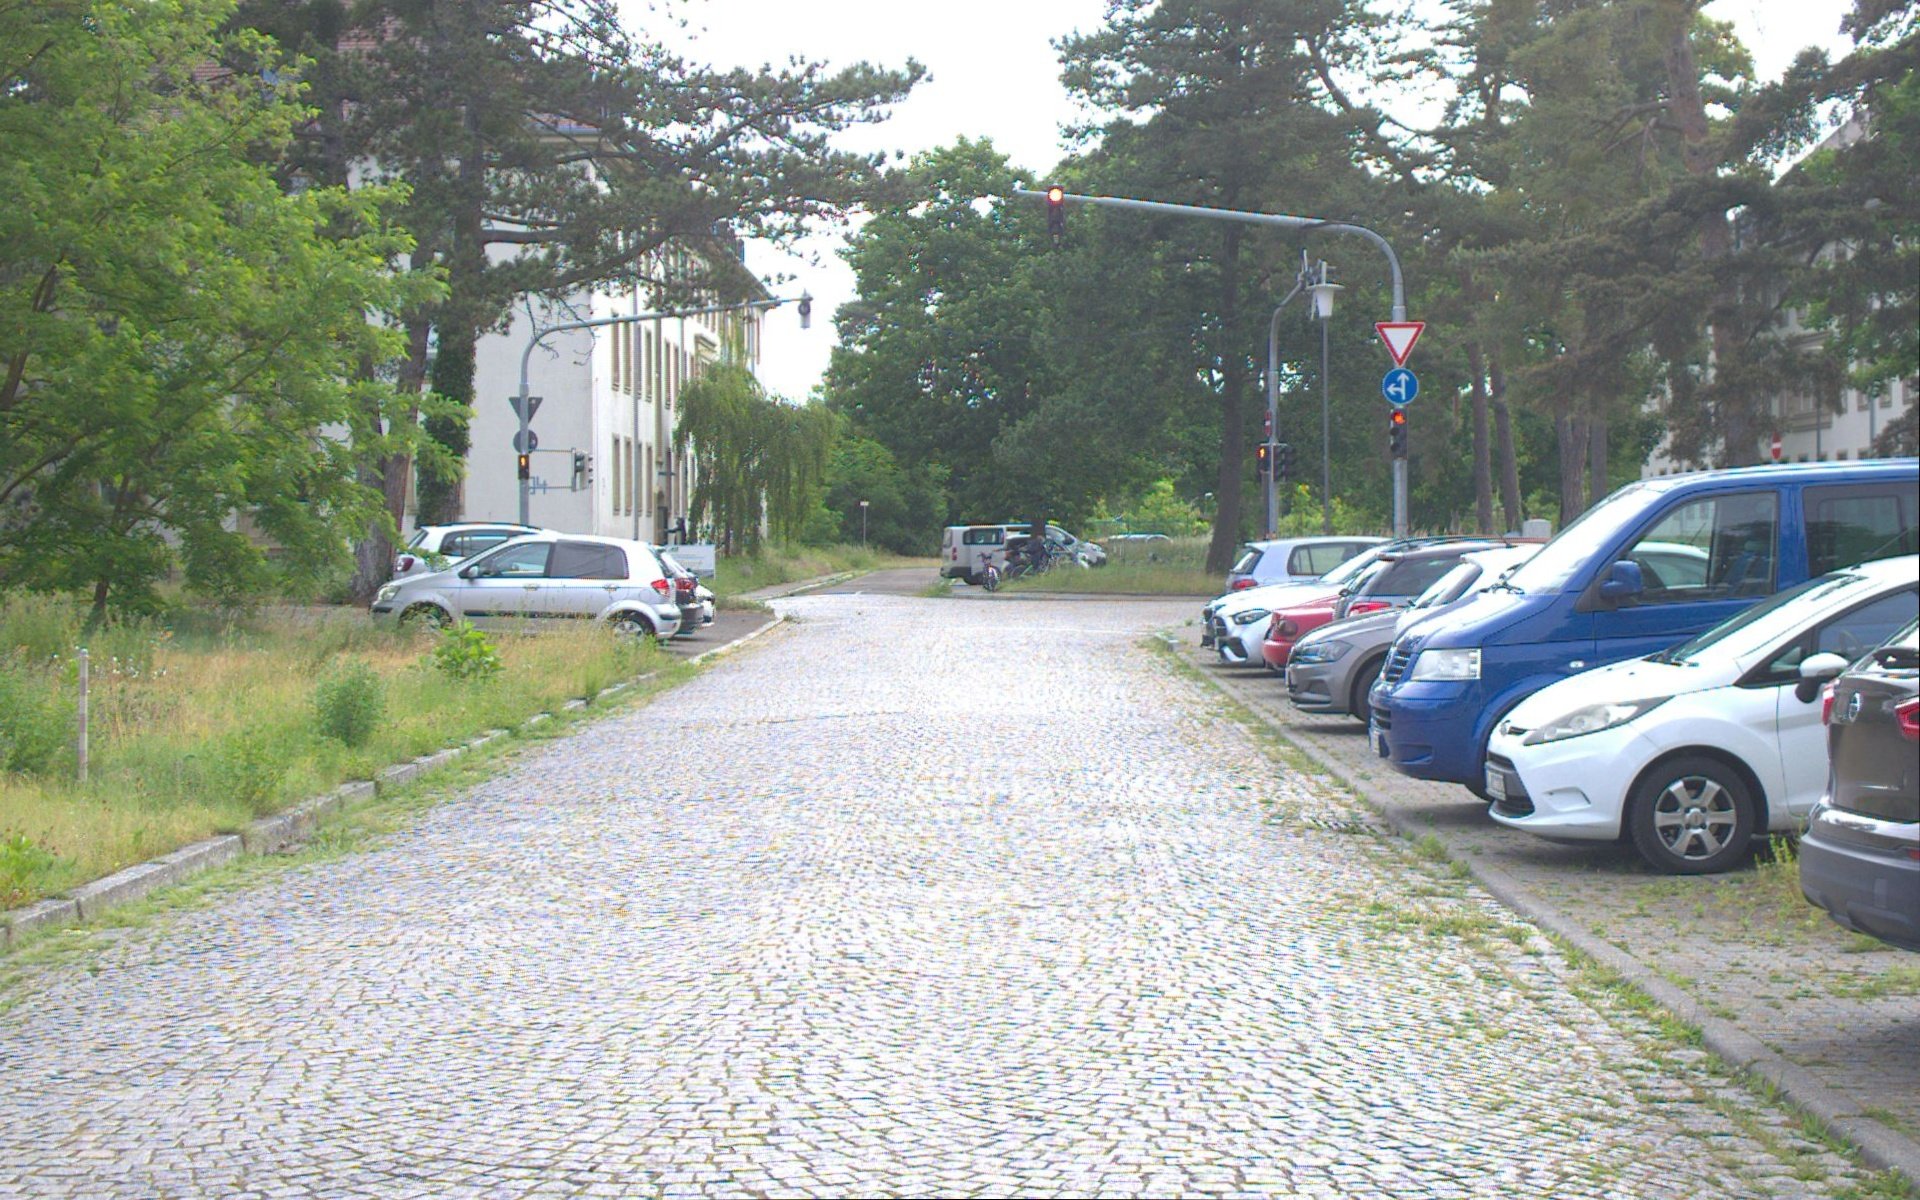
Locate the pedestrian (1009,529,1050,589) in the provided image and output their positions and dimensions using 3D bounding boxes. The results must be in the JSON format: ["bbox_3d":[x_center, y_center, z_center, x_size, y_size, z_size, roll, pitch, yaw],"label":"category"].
[{"bbox_3d":[1.861,-1.107,92.510,1.033,1.608,0.757,1,1,-4],"label":"pedestrian"}]

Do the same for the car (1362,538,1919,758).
[{"bbox_3d":[4.833,0.321,24.668,3.671,1.444,1.524,-1,1,-1],"label":"car"}]

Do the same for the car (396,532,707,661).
[{"bbox_3d":[-5.279,-0.061,44.716,3.821,1.567,1.564,-1,1,0],"label":"car"}]

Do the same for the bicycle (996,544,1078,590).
[{"bbox_3d":[2.056,-0.894,92.167,2.136,1.210,0.622,1,1,-3],"label":"bicycle"}]

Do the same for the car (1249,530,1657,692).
[{"bbox_3d":[4.708,0.088,33.143,3.671,1.444,1.524,-1,1,-1],"label":"car"}]

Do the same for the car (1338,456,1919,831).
[{"bbox_3d":[4.647,0.197,19.389,4.754,1.948,1.931,-1,1,-1],"label":"car"}]

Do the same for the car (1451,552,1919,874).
[{"bbox_3d":[4.378,0.498,16.806,3.671,1.444,1.615,-1,1,-2],"label":"car"}]

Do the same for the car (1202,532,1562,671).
[{"bbox_3d":[4.596,0.004,37.683,3.671,1.416,1.524,-1,1,-3],"label":"car"}]

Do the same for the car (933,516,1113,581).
[{"bbox_3d":[1.992,-1.651,110.072,5.444,2.007,2.269,1,1,-8],"label":"car"}]

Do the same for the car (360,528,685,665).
[{"bbox_3d":[-5.343,-0.053,42.299,3.821,1.567,1.564,-1,1,-2],"label":"car"}]

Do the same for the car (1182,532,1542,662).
[{"bbox_3d":[4.708,-0.045,40.536,3.967,1.416,1.620,-1,1,-3],"label":"car"}]

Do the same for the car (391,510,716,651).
[{"bbox_3d":[-5.601,-0.279,47.706,4.262,1.834,1.744,-1,1,0],"label":"car"}]

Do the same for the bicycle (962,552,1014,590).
[{"bbox_3d":[0.713,-0.736,88.123,0.620,0.941,1.663,0,1,-27],"label":"bicycle"}]

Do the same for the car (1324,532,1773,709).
[{"bbox_3d":[5.162,0.162,30.429,3.671,1.444,1.524,-1,1,-1],"label":"car"}]

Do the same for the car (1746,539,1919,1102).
[{"bbox_3d":[4.623,0.555,10.423,4.028,1.547,1.751,-1,1,-1],"label":"car"}]

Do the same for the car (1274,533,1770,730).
[{"bbox_3d":[4.434,0.235,27.454,3.671,1.444,1.524,-1,1,-1],"label":"car"}]

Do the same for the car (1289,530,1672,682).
[{"bbox_3d":[5.318,0.049,35.417,3.671,1.444,1.524,-1,1,-1],"label":"car"}]

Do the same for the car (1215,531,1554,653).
[{"bbox_3d":[5.303,-0.114,43.176,3.967,1.416,1.620,-1,1,-3],"label":"car"}]
